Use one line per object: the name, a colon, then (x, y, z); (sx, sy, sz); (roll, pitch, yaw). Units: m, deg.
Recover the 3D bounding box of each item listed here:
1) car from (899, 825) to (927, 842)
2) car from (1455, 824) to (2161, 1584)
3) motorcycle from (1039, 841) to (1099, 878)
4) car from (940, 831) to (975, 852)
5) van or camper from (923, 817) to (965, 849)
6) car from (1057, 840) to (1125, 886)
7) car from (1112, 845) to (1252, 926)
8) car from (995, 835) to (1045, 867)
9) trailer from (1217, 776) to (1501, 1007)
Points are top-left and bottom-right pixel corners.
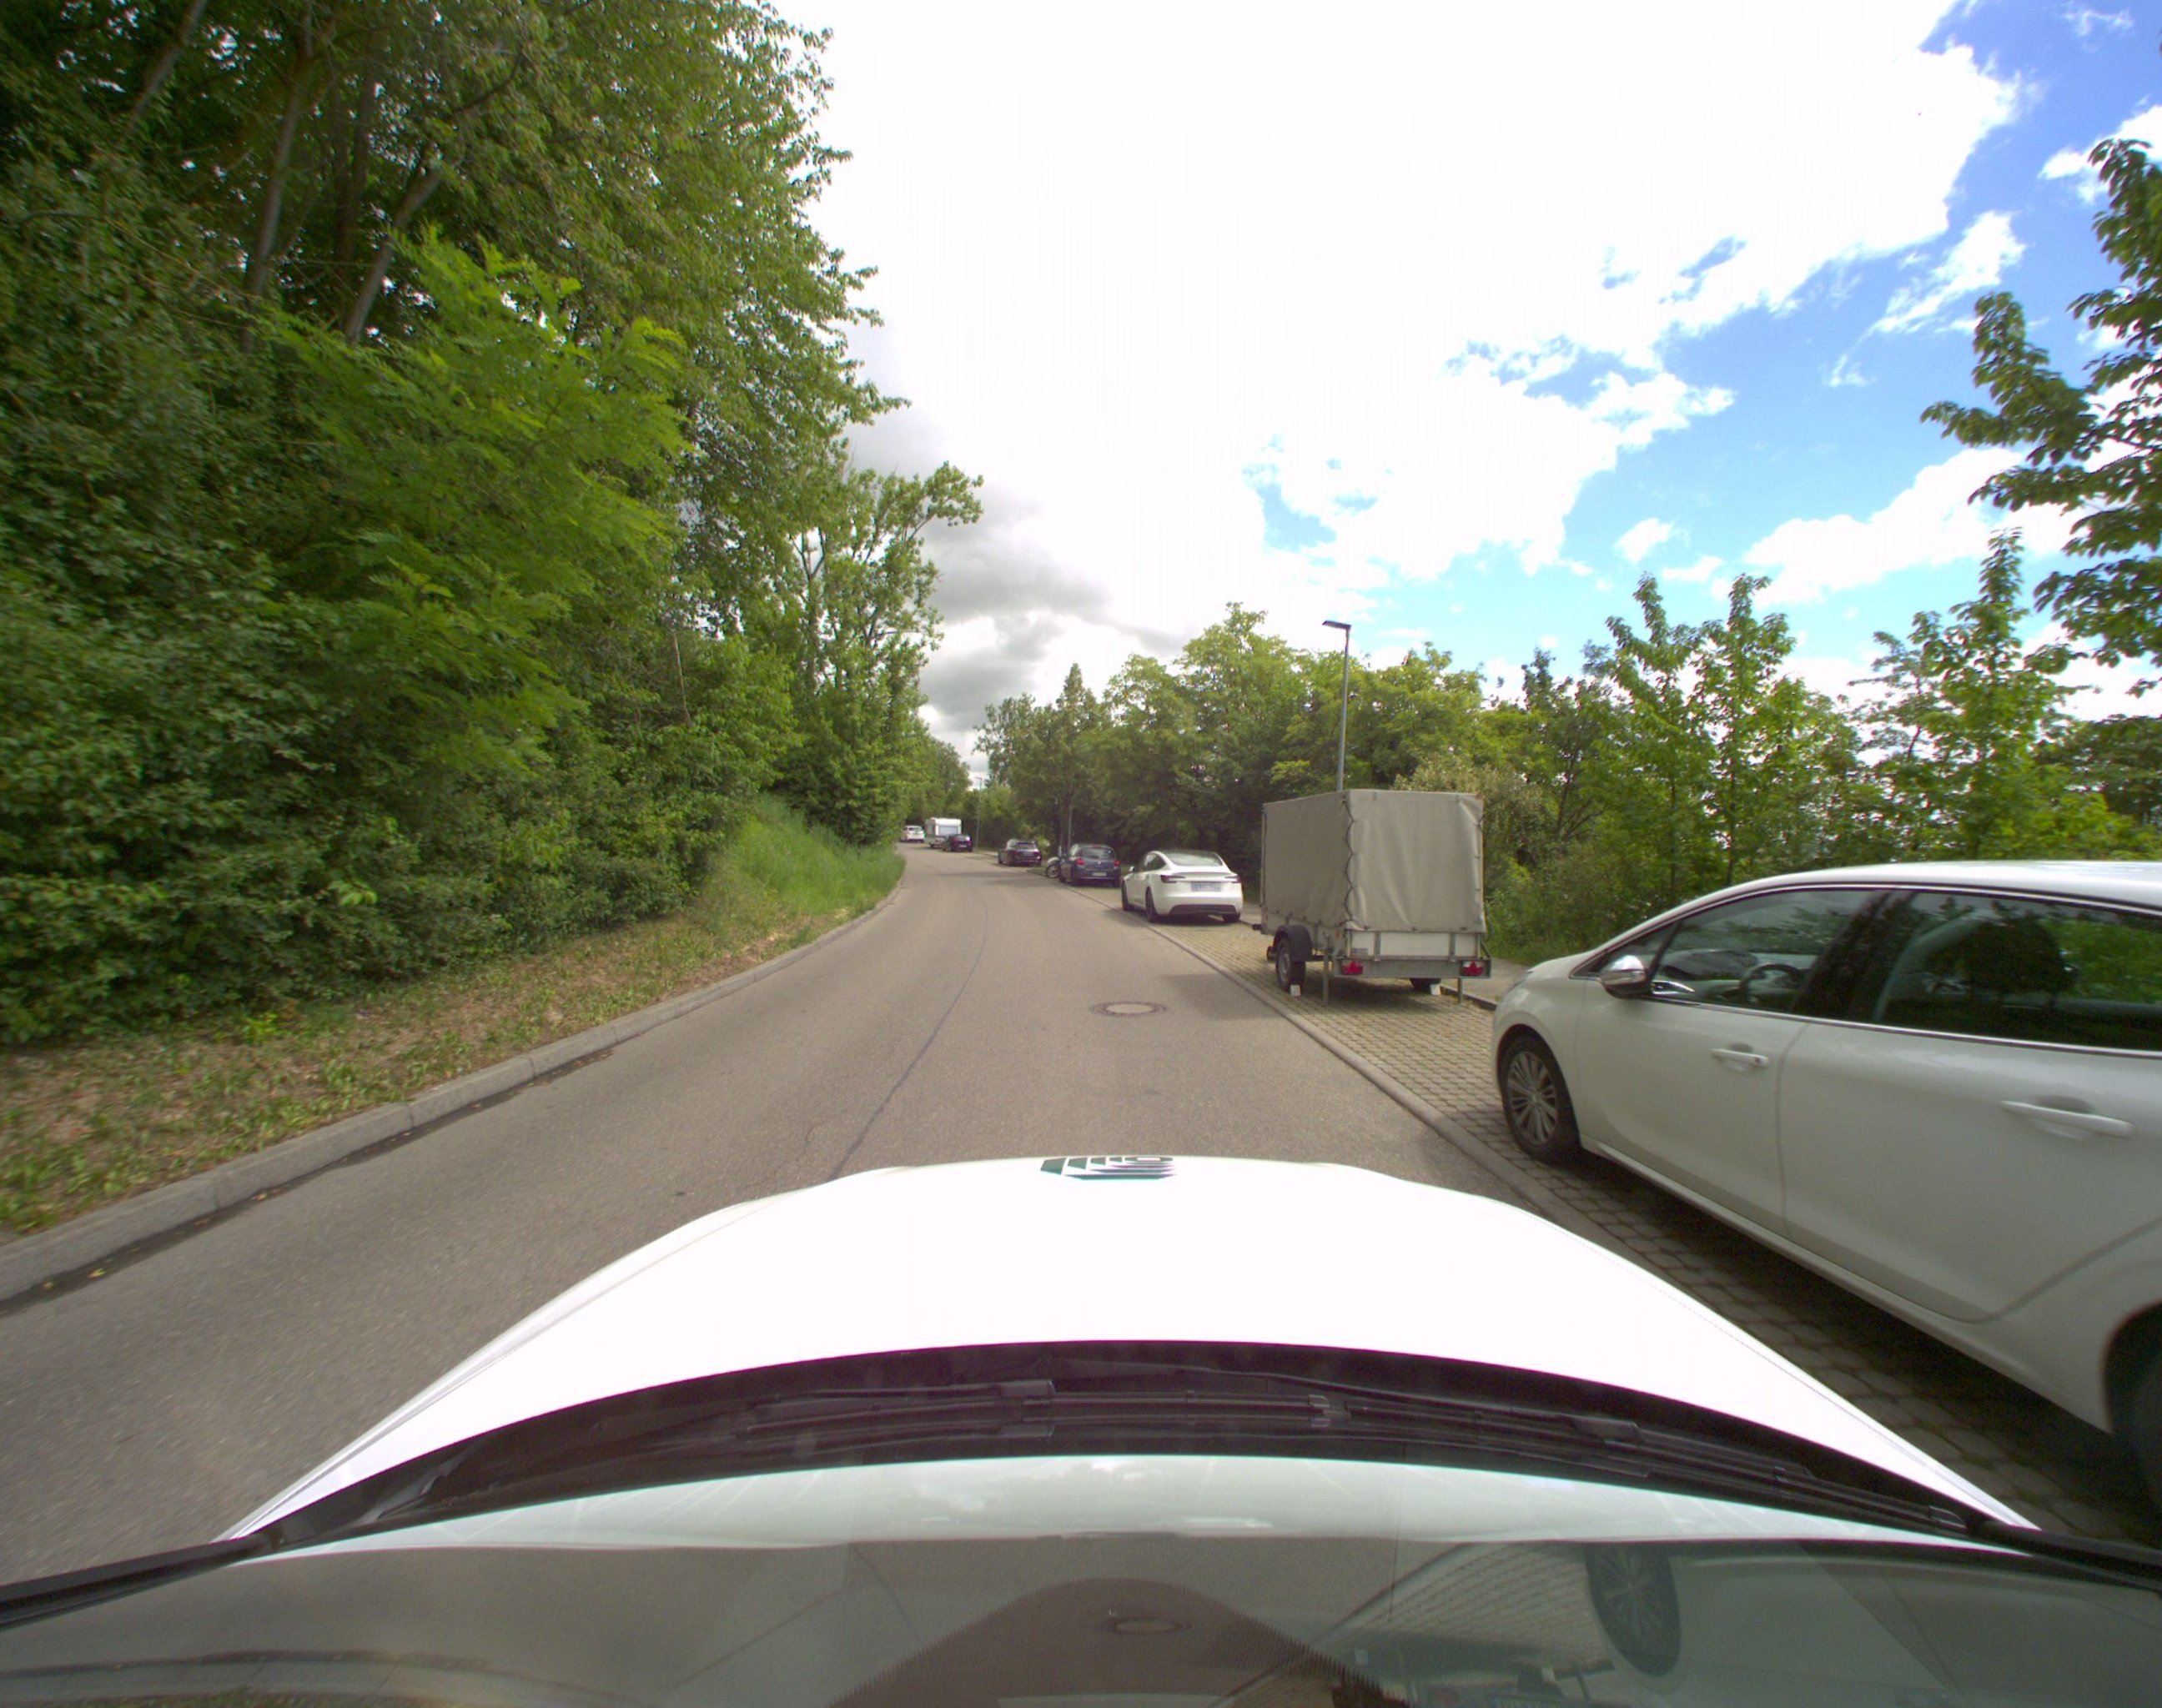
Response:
car: (-16.573, -2.031, 80.195); (1.813, 1.599, 4.338); (0, 3, -24)
car: (2.955, 0.678, 2.718); (1.700, 1.477, 3.783); (0, 0, 0)
motorcycle: (-0.479, 0.215, 33.165); (2.289, 1.475, 0.979); (0, 1, 13)
car: (-9.598, -0.986, 63.084); (1.689, 1.450, 4.448); (2, 2, -23)
van or camper: (-11.563, -1.814, 68.353); (2.364, 2.553, 5.037); (0, 2, -23)
car: (0.274, 0.299, 29.501); (1.769, 1.517, 4.094); (1, 0, -9)
car: (2.027, 0.566, 17.864); (1.861, 1.477, 4.889); (0, 1, -8)
car: (-3.423, -0.202, 44.681); (1.896, 1.529, 4.524); (2, 2, -15)
trailer: (2.862, 0.336, 9.298); (1.727, 2.078, 3.777); (0, 0, -5)
